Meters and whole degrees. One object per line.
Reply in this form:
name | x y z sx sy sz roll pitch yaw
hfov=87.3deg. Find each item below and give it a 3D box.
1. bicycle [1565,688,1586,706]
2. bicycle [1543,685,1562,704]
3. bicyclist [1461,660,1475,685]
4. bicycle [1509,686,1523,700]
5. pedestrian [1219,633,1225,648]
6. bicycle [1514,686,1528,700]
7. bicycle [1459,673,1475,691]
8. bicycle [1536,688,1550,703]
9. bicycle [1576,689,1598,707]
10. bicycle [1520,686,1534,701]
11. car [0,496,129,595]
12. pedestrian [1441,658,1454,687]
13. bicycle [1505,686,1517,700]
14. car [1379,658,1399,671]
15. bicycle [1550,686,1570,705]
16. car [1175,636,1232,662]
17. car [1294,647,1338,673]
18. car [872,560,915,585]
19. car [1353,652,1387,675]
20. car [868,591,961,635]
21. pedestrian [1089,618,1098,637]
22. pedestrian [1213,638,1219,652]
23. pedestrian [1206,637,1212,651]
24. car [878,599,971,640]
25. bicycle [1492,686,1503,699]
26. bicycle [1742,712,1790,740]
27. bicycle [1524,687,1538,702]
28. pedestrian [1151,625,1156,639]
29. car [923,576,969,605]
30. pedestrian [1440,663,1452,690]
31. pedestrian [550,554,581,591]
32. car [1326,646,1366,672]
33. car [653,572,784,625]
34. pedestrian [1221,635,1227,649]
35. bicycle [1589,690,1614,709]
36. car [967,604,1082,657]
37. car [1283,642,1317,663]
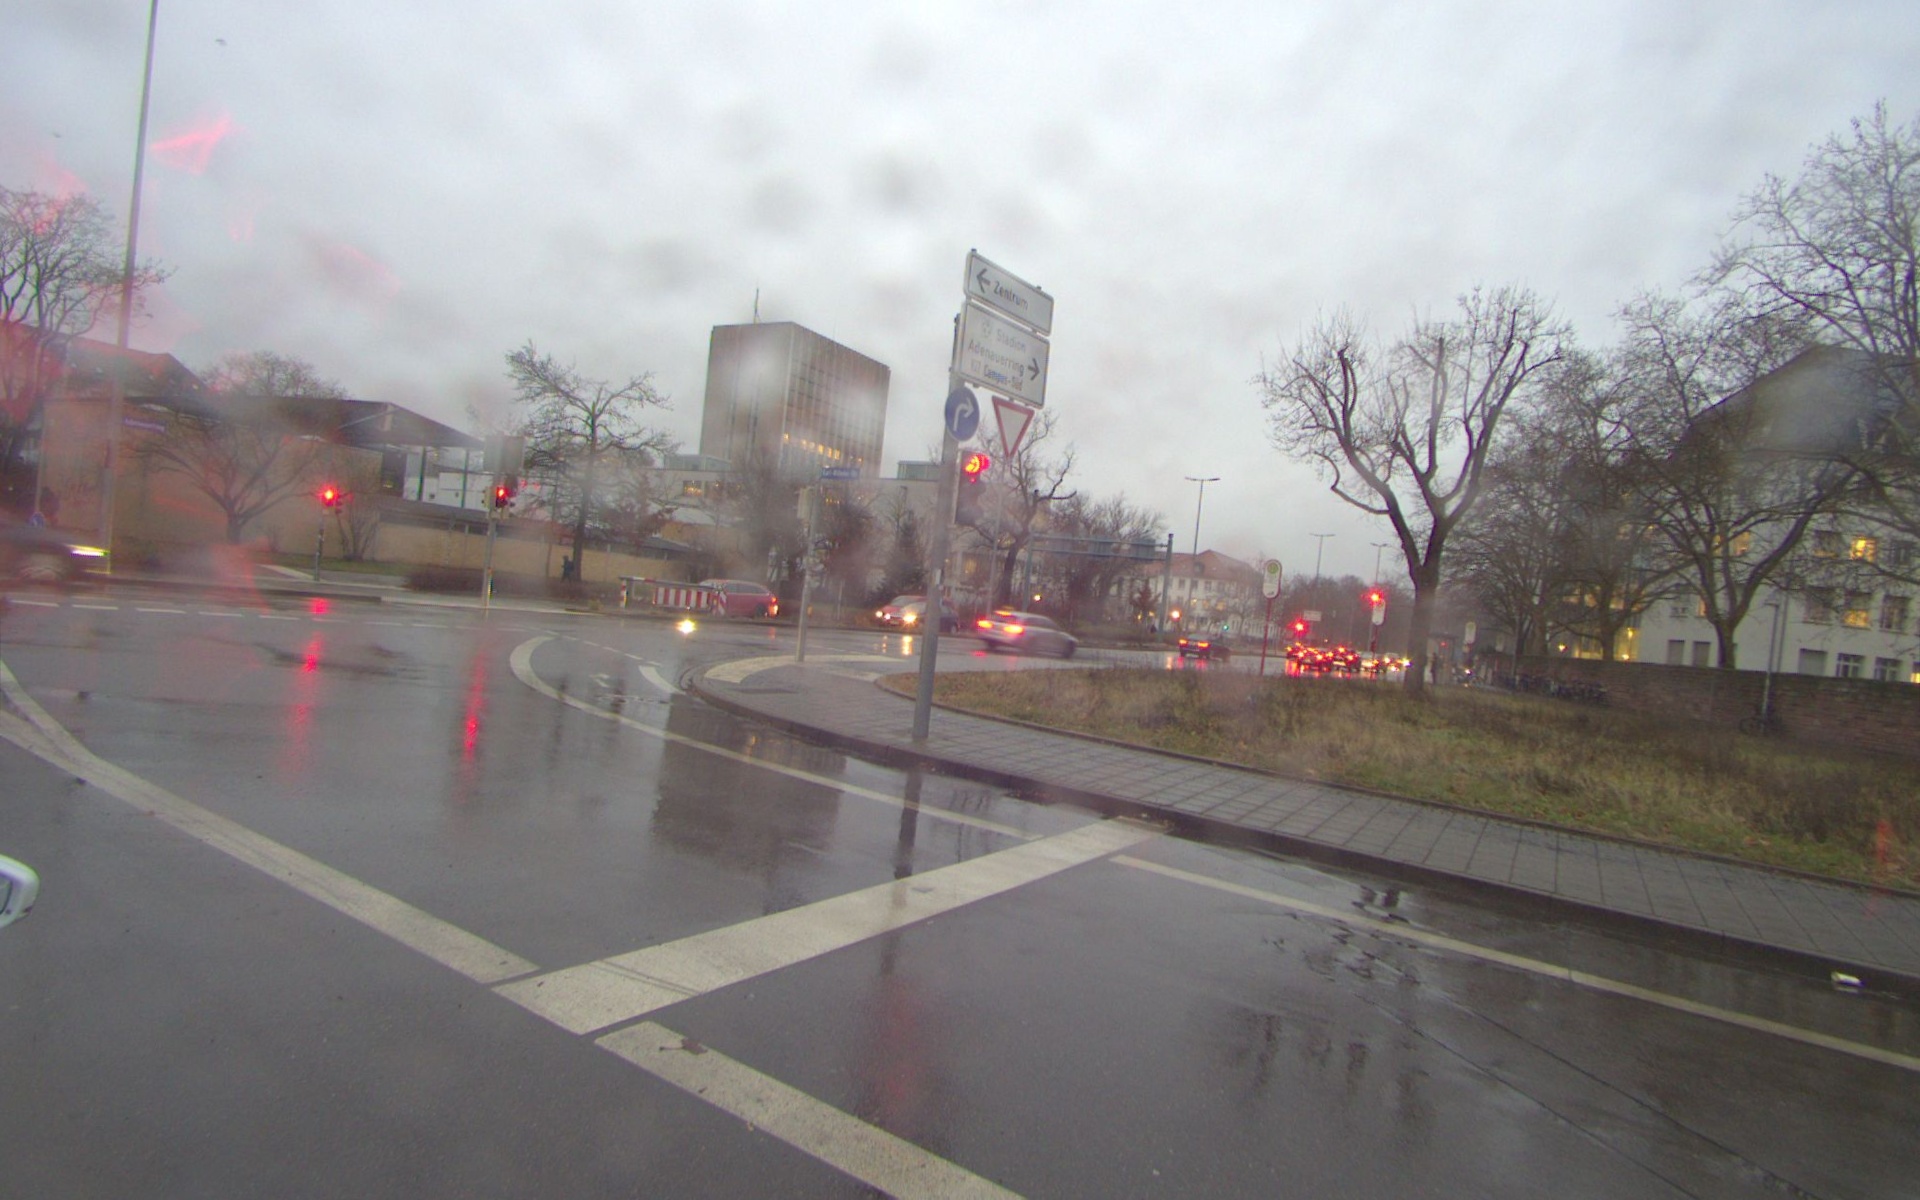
bicycle | 31.035 4.879 50.740 0.343 0.848 1.493 7 -2 13
bicycle | 31.838 5.078 54.083 0.387 0.927 1.532 7 -2 15
bicyclist | 35.467 5.073 70.228 0.599 1.660 0.453 7 -1 19
bicycle | 34.346 5.746 62.148 0.387 0.795 1.532 7 -2 20
pedestrian | 31.473 4.872 120.734 0.404 1.713 0.427 7 2 28
bicycle | 33.825 5.618 60.660 0.387 0.795 1.532 7 -2 20
bicycle | 35.383 5.697 70.214 0.599 1.181 1.682 7 -2 19
bicycle | 32.409 5.294 55.949 0.387 0.795 1.607 7 -2 22
bicycle | 30.545 4.772 48.996 0.387 0.795 1.533 7 -2 14
bicycle | 33.319 5.491 59.141 0.387 0.795 1.532 7 -2 20
car | -16.826 -1.064 16.608 1.787 1.496 4.566 6 0 43
pedestrian | 35.627 5.292 73.515 0.557 2.040 0.595 8 2 33
bicycle | 34.846 5.871 63.622 0.387 0.795 1.532 7 -2 20
car | 51.619 7.703 120.970 1.620 1.346 3.671 7 1 31
bicycle | 31.353 4.983 52.552 0.387 0.868 1.532 7 -2 15
car | 14.793 2.990 60.926 1.907 1.318 4.687 6 0 32
car | 25.322 4.283 71.476 1.812 1.602 4.124 6 0 35
car | -6.975 -2.892 106.683 2.014 2.102 4.892 6 0 30
car | 34.251 5.292 83.993 1.811 1.710 4.311 6 0 32
car | -2.353 0.740 53.738 2.016 1.903 5.320 6 0 35
pedestrian | 12.425 2.570 93.663 0.411 1.725 0.430 8 3 44
pedestrian | 31.035 5.445 121.876 0.404 1.713 0.427 7 2 28
pedestrian | 30.960 5.419 124.989 0.404 1.713 0.427 7 2 28
car | -1.579 0.897 45.930 1.784 1.496 4.411 6 0 37
bicycle | 36.386 6.252 68.103 0.387 0.795 1.532 7 -2 20
bicycle | 28.199 4.402 35.221 0.387 0.834 1.386 7 -2 -4
bicycle | 32.837 5.408 57.862 0.387 0.795 1.532 7 -2 19
pedestrian | 19.886 3.290 103.200 0.258 1.364 0.289 8 2 31
car | -1.404 -0.988 103.048 2.014 2.452 5.326 6 0 30
pedestrian | 30.148 4.737 62.414 0.462 1.623 0.486 7 -1 25
pedestrian | -18.735 -1.294 47.743 0.782 1.624 0.961 8 2 36
car | 29.737 4.537 77.411 1.812 1.710 4.311 6 -1 34
car | -8.640 -0.027 36.306 1.784 1.496 4.411 6 0 37
pedestrian | 32.962 5.260 125.664 0.404 1.713 0.561 7 2 28
bicycle | 30.271 4.676 47.472 0.352 0.795 1.415 7 -2 8
car | 2.468 1.158 37.259 1.909 1.571 4.681 6 0 37
car | 30.121 4.677 89.037 1.811 1.602 4.127 6 0 32
